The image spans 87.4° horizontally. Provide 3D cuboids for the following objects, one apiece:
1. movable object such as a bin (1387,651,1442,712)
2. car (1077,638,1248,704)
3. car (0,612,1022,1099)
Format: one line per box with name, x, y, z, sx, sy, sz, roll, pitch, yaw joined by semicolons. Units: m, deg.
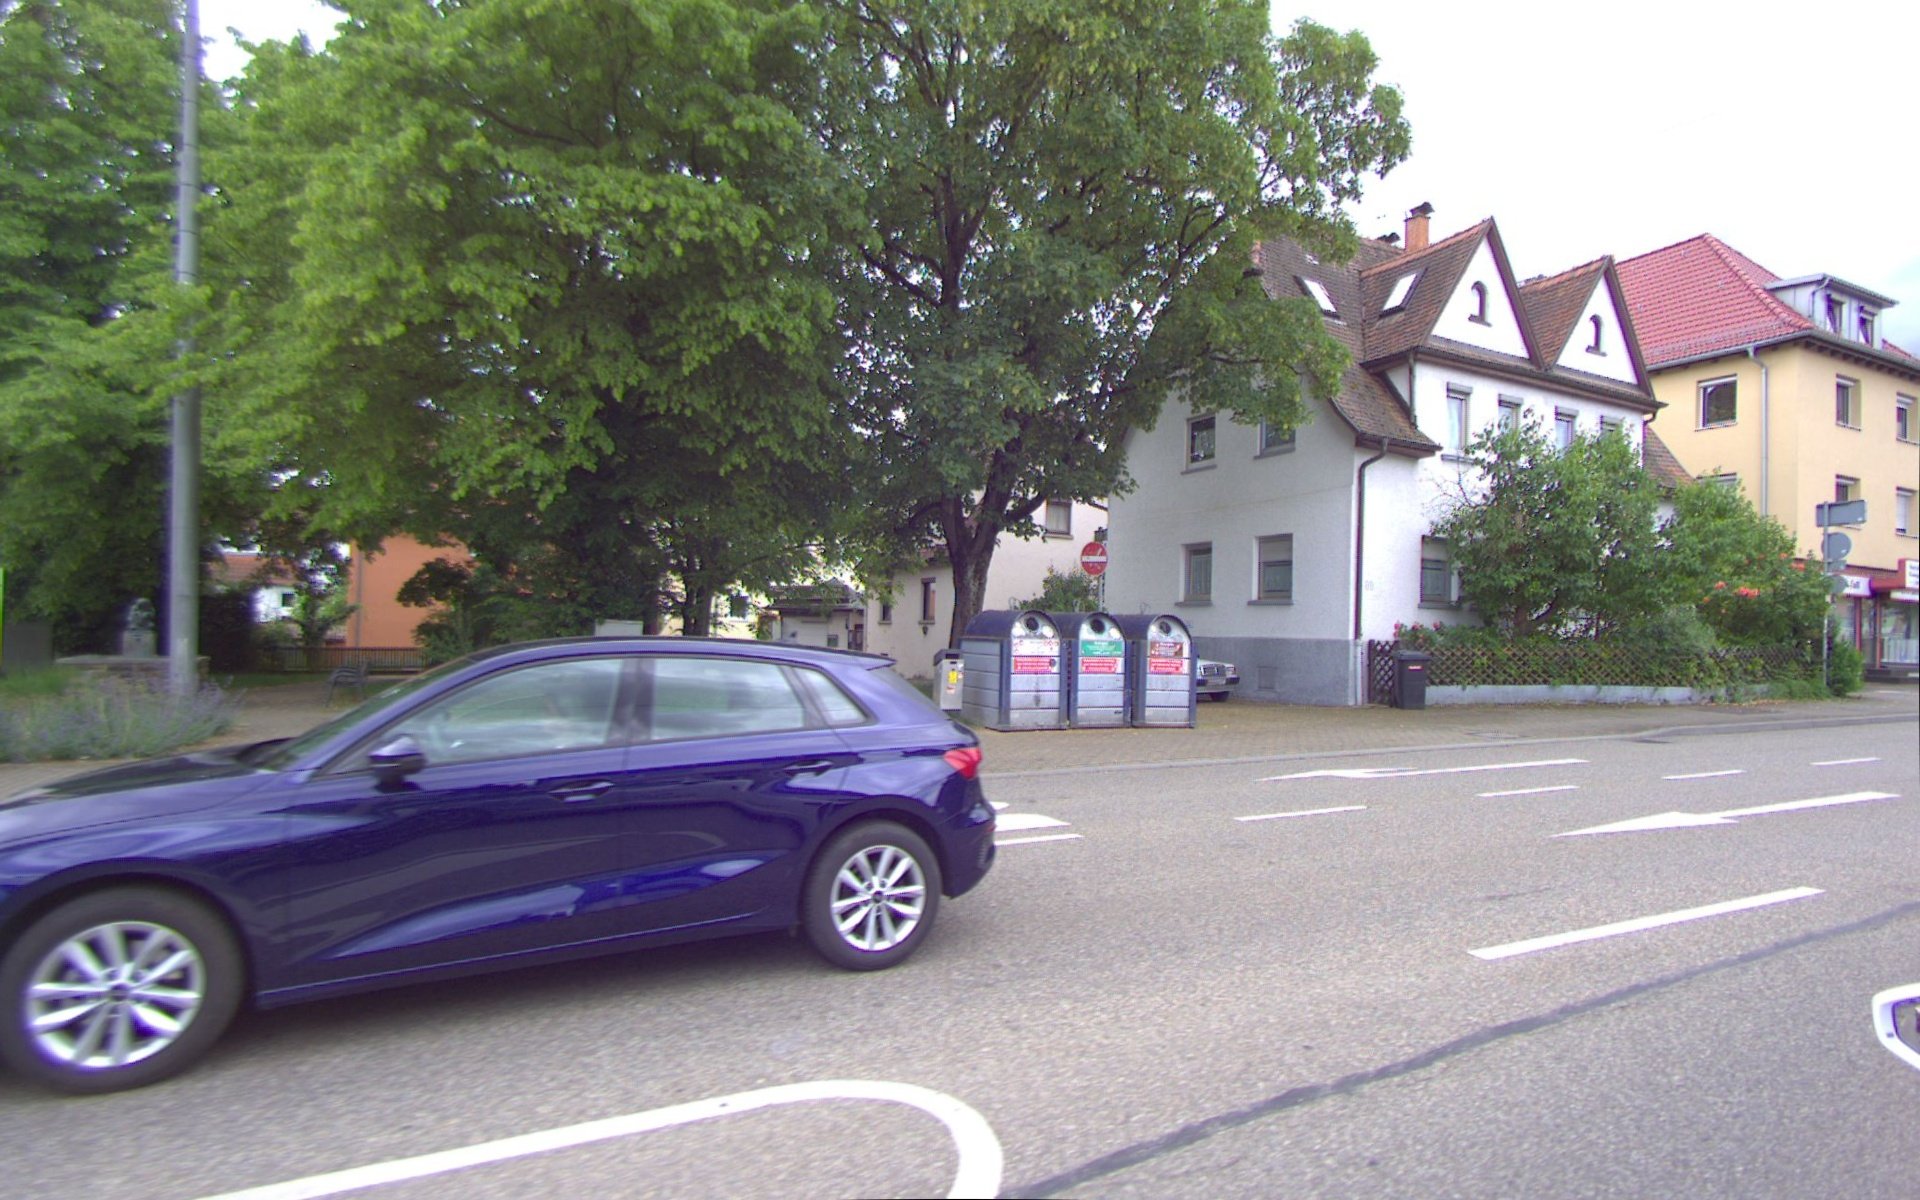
movable object such as a bin;8.326;1.479;18.427;0.708;1.033;0.720;0;2;6
car;4.470;1.610;22.747;1.701;1.349;3.973;3;-4;-28
car;-1.882;0.839;4.373;4.079;1.438;1.558;3;-2;-28
